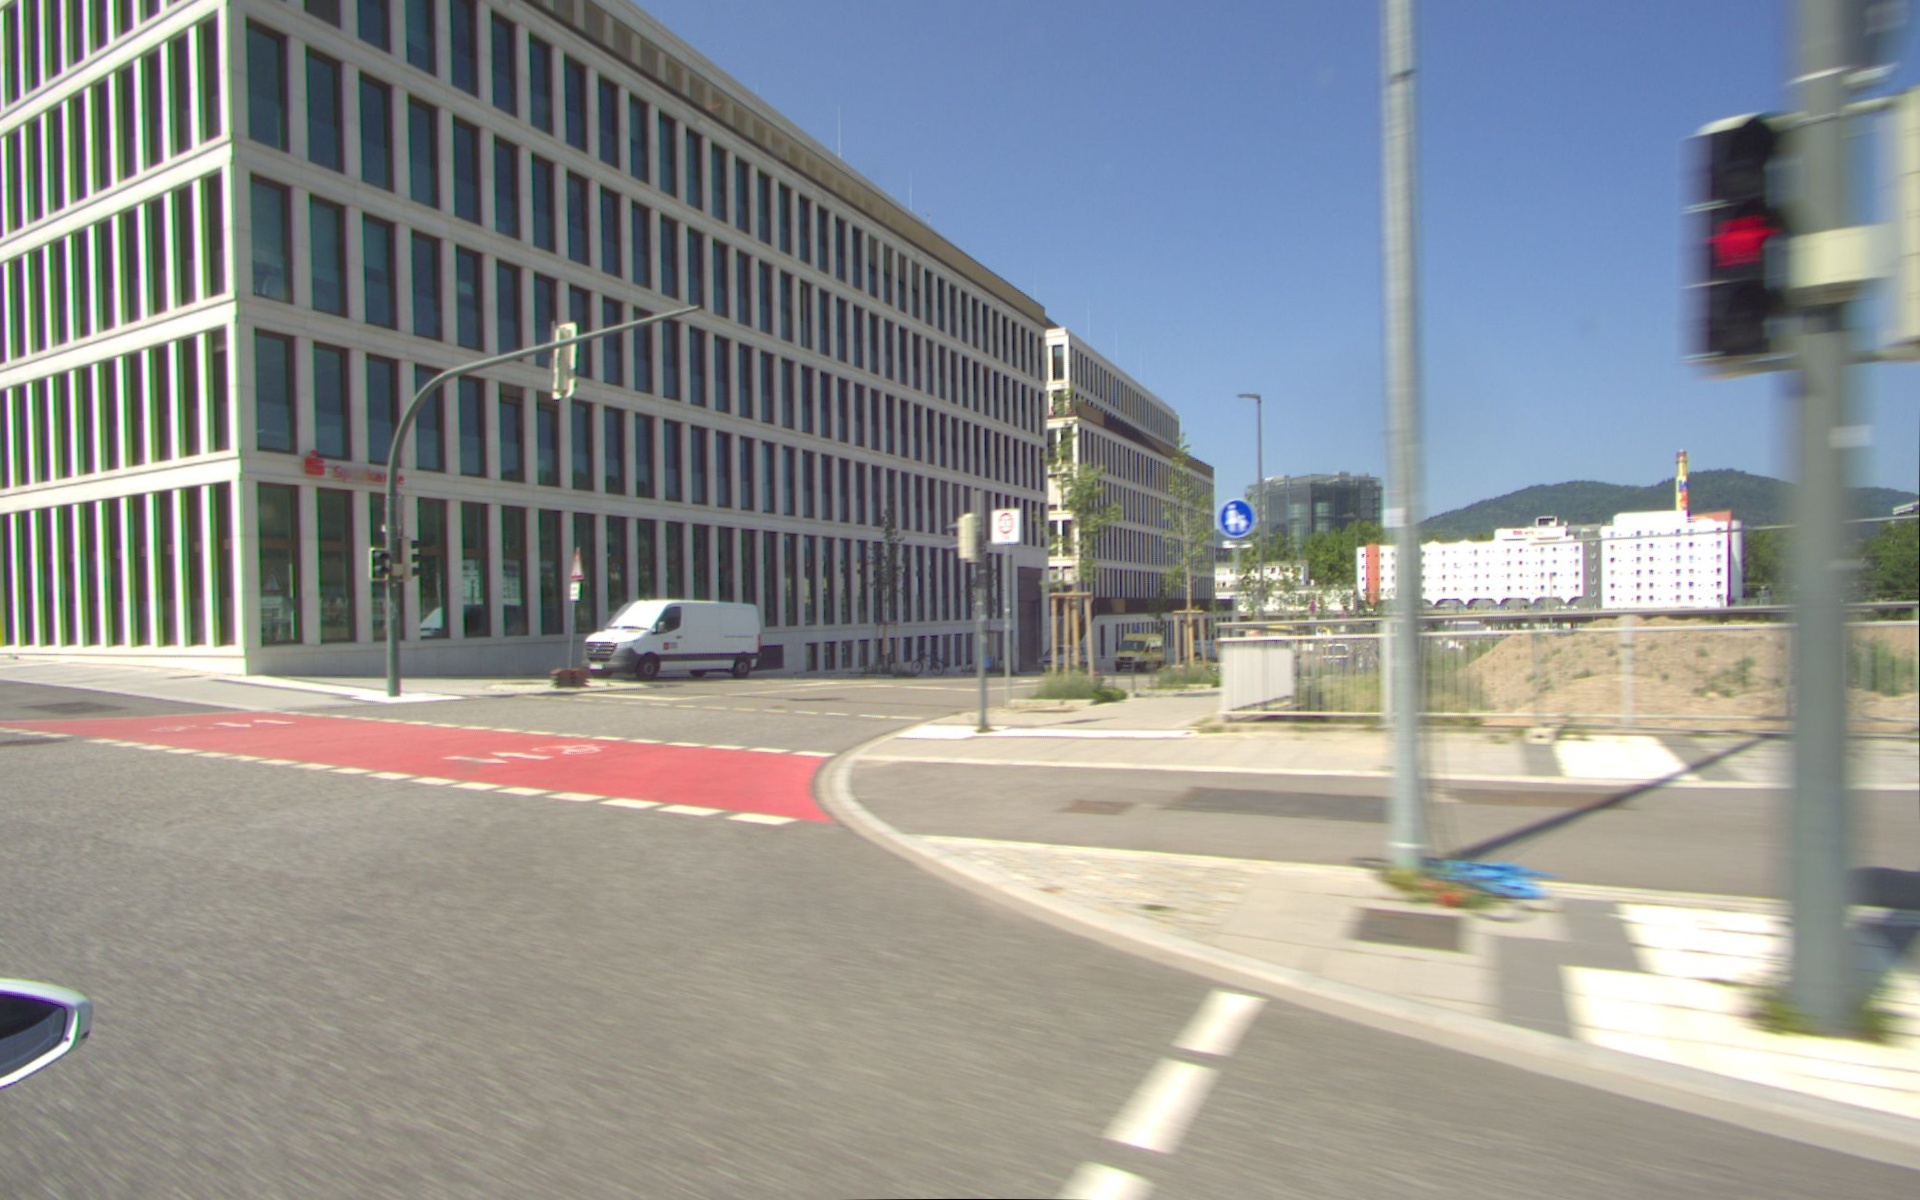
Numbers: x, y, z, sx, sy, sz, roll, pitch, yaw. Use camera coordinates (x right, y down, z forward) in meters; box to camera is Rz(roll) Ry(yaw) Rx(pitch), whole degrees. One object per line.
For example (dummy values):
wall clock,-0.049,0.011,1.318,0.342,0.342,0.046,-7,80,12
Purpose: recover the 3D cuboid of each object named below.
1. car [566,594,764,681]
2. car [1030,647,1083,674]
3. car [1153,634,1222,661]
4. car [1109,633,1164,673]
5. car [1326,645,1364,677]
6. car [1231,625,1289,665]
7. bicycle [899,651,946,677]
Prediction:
car,-8.546,1.139,29.725,2.114,2.299,5.835,0,-3,29
car,5.431,3.403,55.845,1.743,1.416,3.661,-1,-5,27
car,21.981,4.607,96.624,6.236,2.504,2.242,-1,-4,22
car,12.208,3.688,68.722,2.045,2.504,6.135,0,-5,27
car,22.716,3.596,58.996,1.631,1.641,3.685,0,-6,29
car,12.647,1.841,42.116,1.631,1.614,3.679,-1,-1,29
bicycle,-1.593,2.724,42.796,1.958,1.005,0.706,-1,-1,32
